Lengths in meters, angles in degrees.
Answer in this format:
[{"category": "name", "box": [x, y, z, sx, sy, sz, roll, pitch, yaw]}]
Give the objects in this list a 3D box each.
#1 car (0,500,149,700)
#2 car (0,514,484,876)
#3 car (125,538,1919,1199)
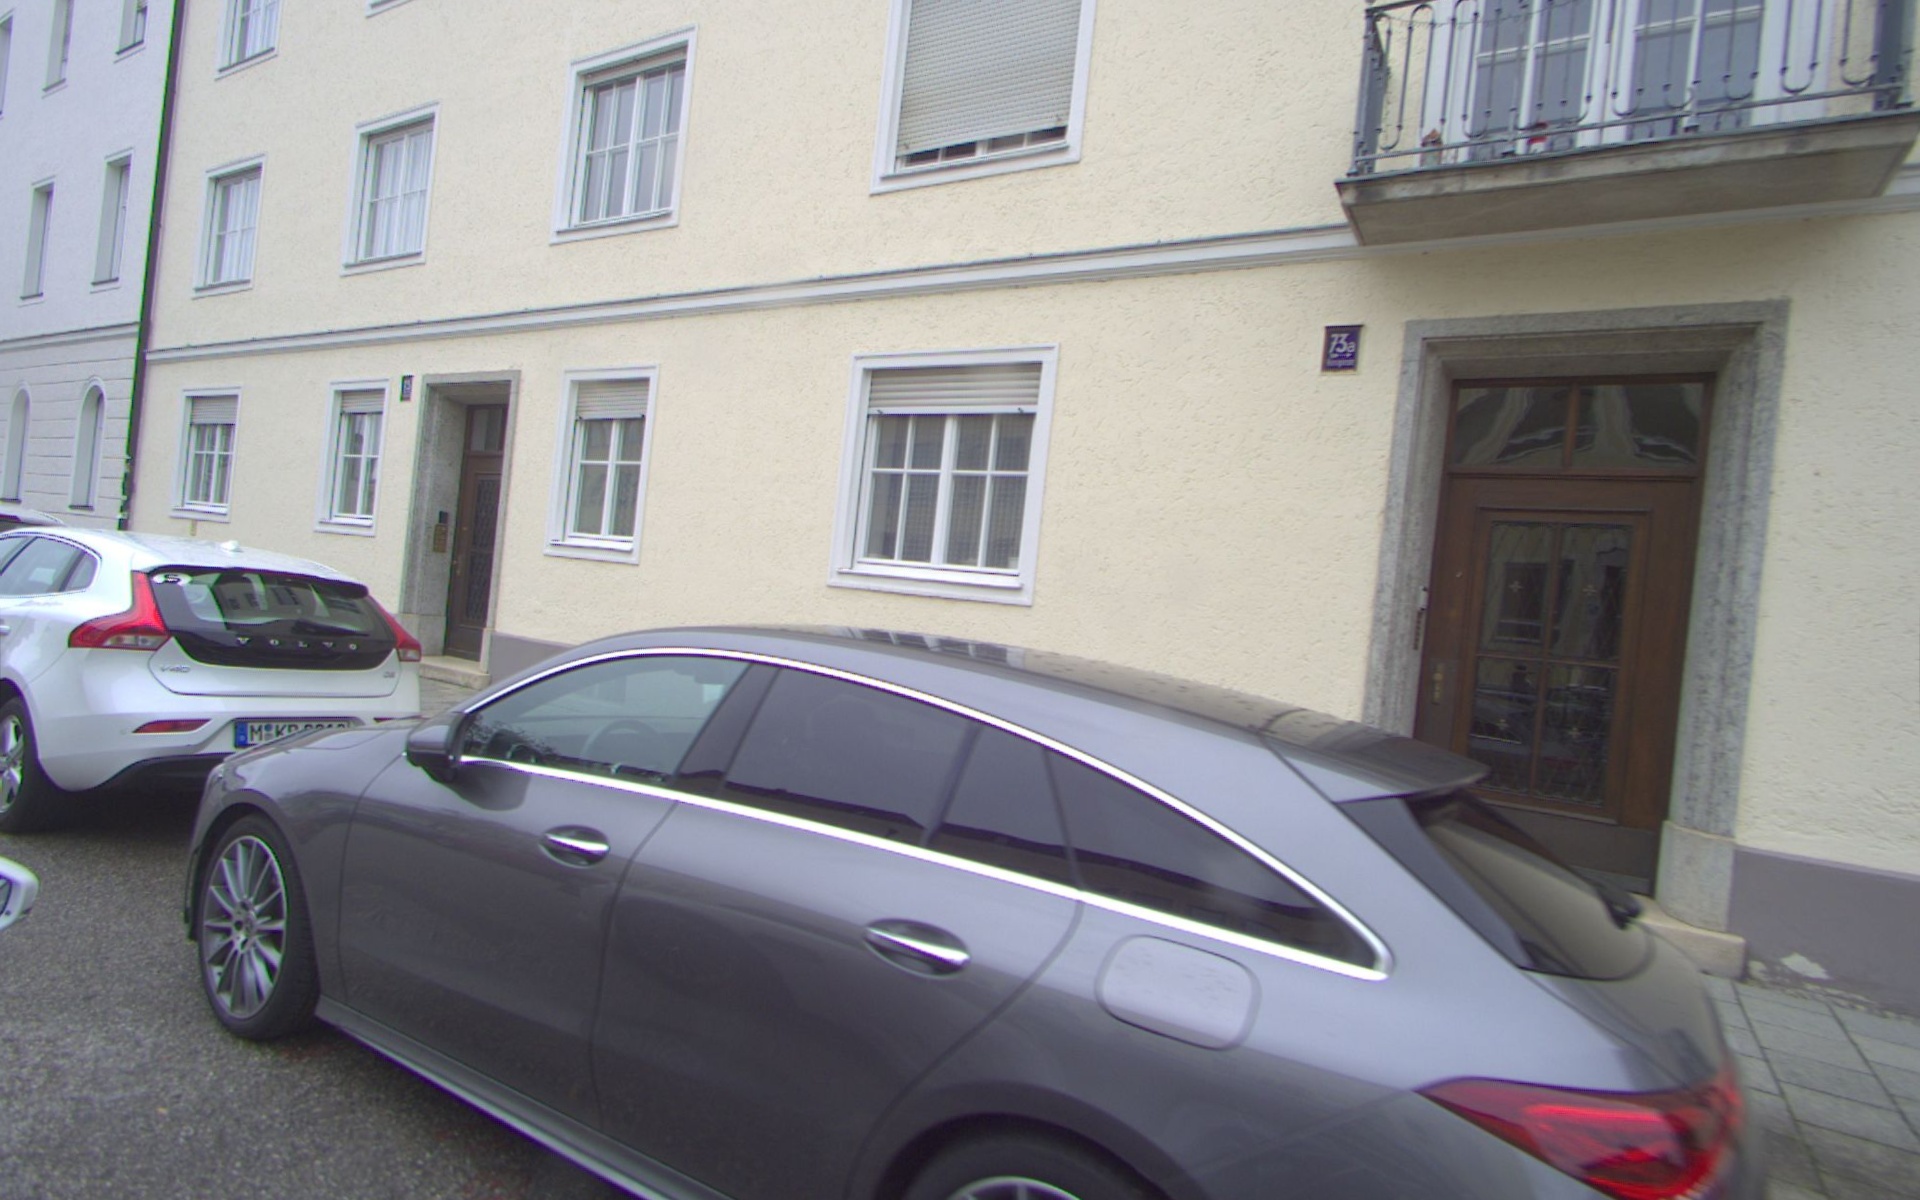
[{"category": "car", "box": [-8.935, -0.175, 8.589, 4.097, 1.499, 1.682, 6, -1, 30]}, {"category": "car", "box": [-4.992, 0.295, 5.963, 4.368, 1.427, 1.682, 6, -1, 31]}, {"category": "car", "box": [-0.404, 0.766, 2.927, 4.348, 1.427, 1.682, 6, -1, 31]}]
